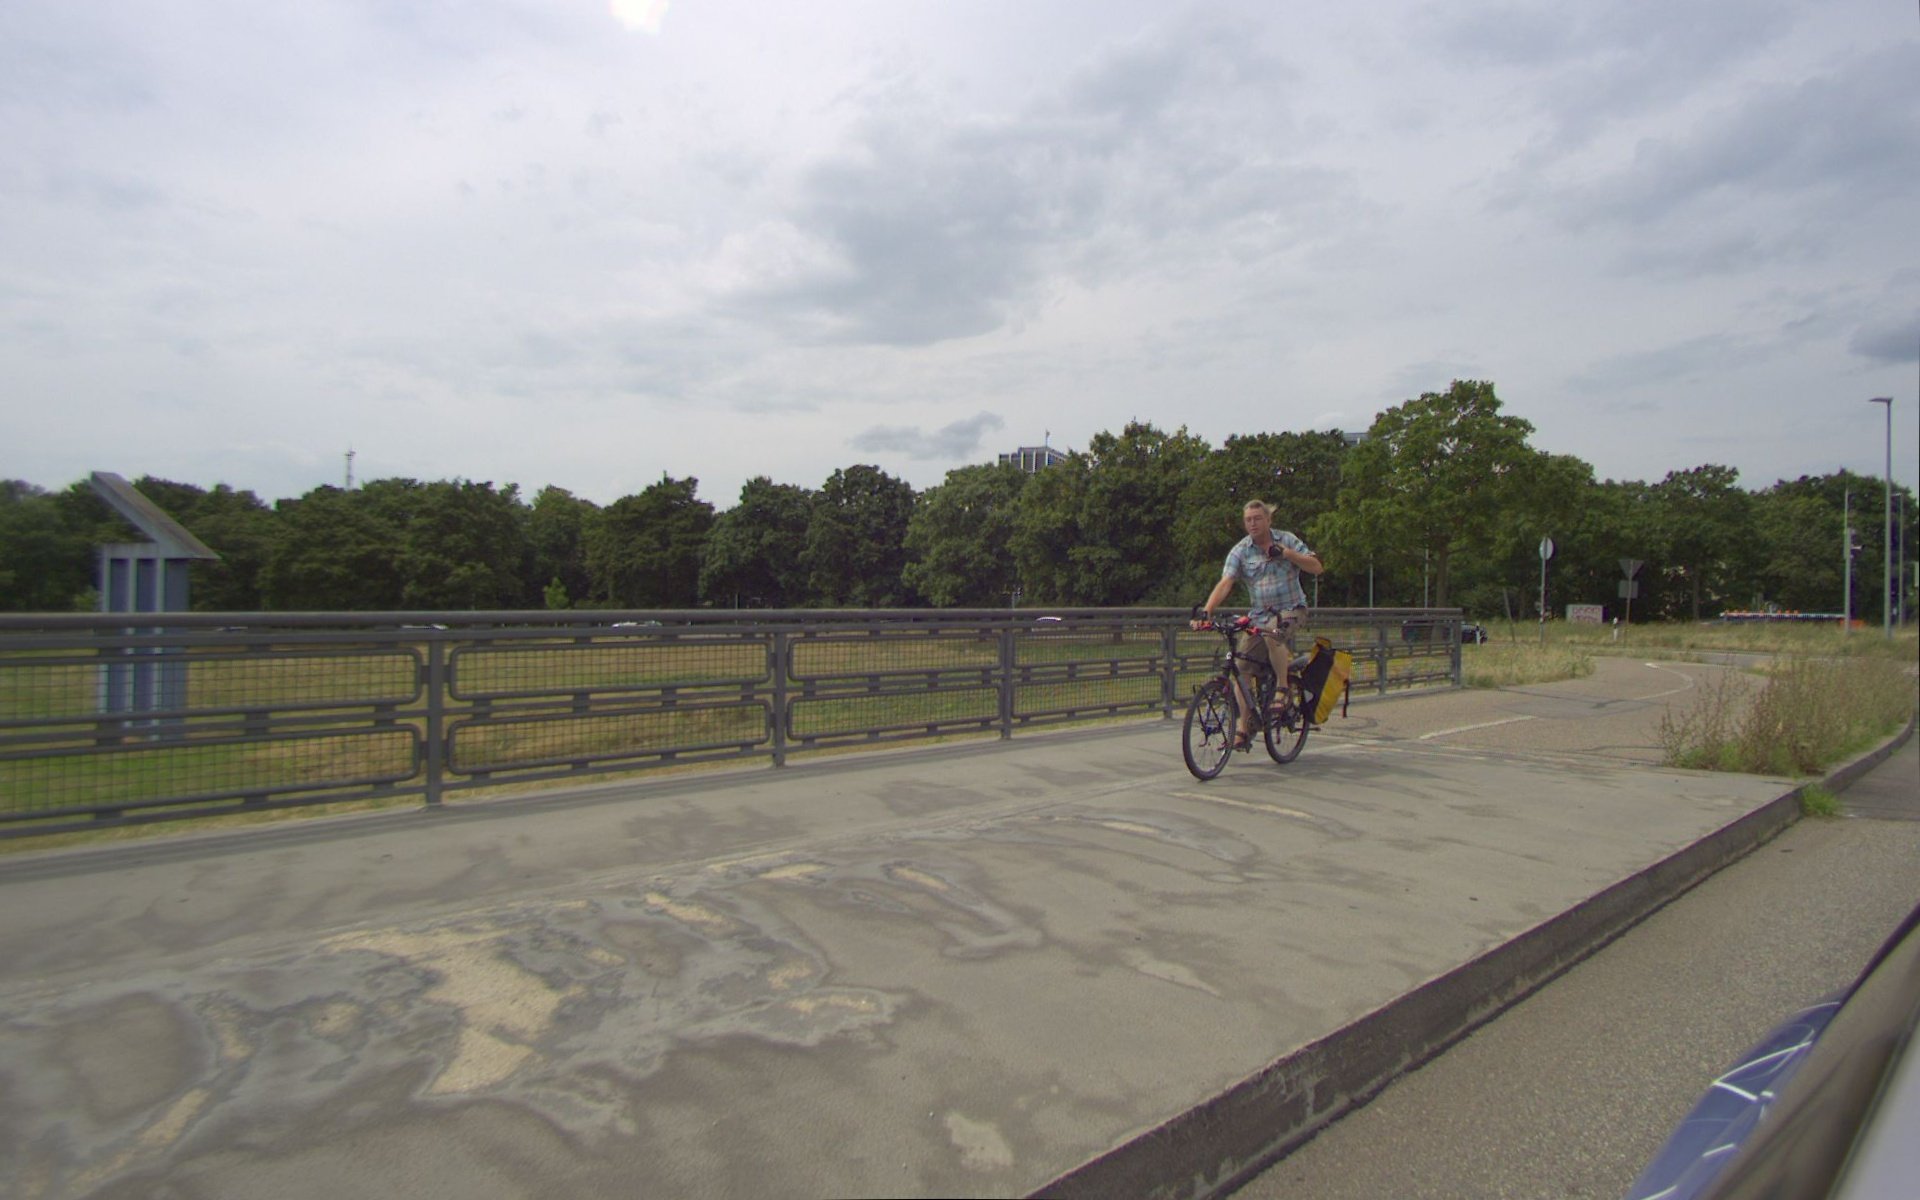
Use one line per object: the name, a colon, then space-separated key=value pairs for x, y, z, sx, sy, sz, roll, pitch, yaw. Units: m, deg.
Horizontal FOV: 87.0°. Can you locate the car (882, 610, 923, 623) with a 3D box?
car: x=-5.548 y=1.587 z=97.469 sx=3.646 sy=1.145 sz=1.664 roll=0 pitch=-1 yaw=26

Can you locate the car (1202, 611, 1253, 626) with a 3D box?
car: x=20.949 y=1.435 z=79.299 sx=3.646 sy=1.145 sz=1.664 roll=0 pitch=-1 yaw=26

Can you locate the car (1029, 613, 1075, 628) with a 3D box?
car: x=8.047 y=1.766 z=88.725 sx=3.653 sy=1.288 sz=1.661 roll=0 pitch=-1 yaw=31

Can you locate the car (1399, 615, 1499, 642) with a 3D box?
car: x=24.505 y=1.412 z=50.814 sx=1.768 sy=1.299 sz=4.244 roll=1 pitch=-1 yaw=-32

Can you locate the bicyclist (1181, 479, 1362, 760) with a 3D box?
bicyclist: x=2.224 y=0.117 z=7.215 sx=0.870 sy=1.824 sz=0.942 roll=2 pitch=0 yaw=43

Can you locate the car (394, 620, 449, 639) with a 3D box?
car: x=-57.082 y=3.096 z=107.253 sx=4.815 sy=1.826 sz=1.998 roll=1 pitch=0 yaw=5

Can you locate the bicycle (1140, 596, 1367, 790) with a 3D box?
bicycle: x=2.101 y=0.579 z=7.116 sx=0.812 sy=1.155 sz=1.736 roll=3 pitch=1 yaw=43

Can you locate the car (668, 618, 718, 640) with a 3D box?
car: x=-26.457 y=2.824 z=100.359 sx=4.417 sy=2.039 sz=1.986 roll=1 pitch=0 yaw=21

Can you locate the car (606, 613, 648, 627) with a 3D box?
car: x=-36.772 y=2.164 z=111.827 sx=3.931 sy=1.416 sz=1.996 roll=1 pitch=0 yaw=7
